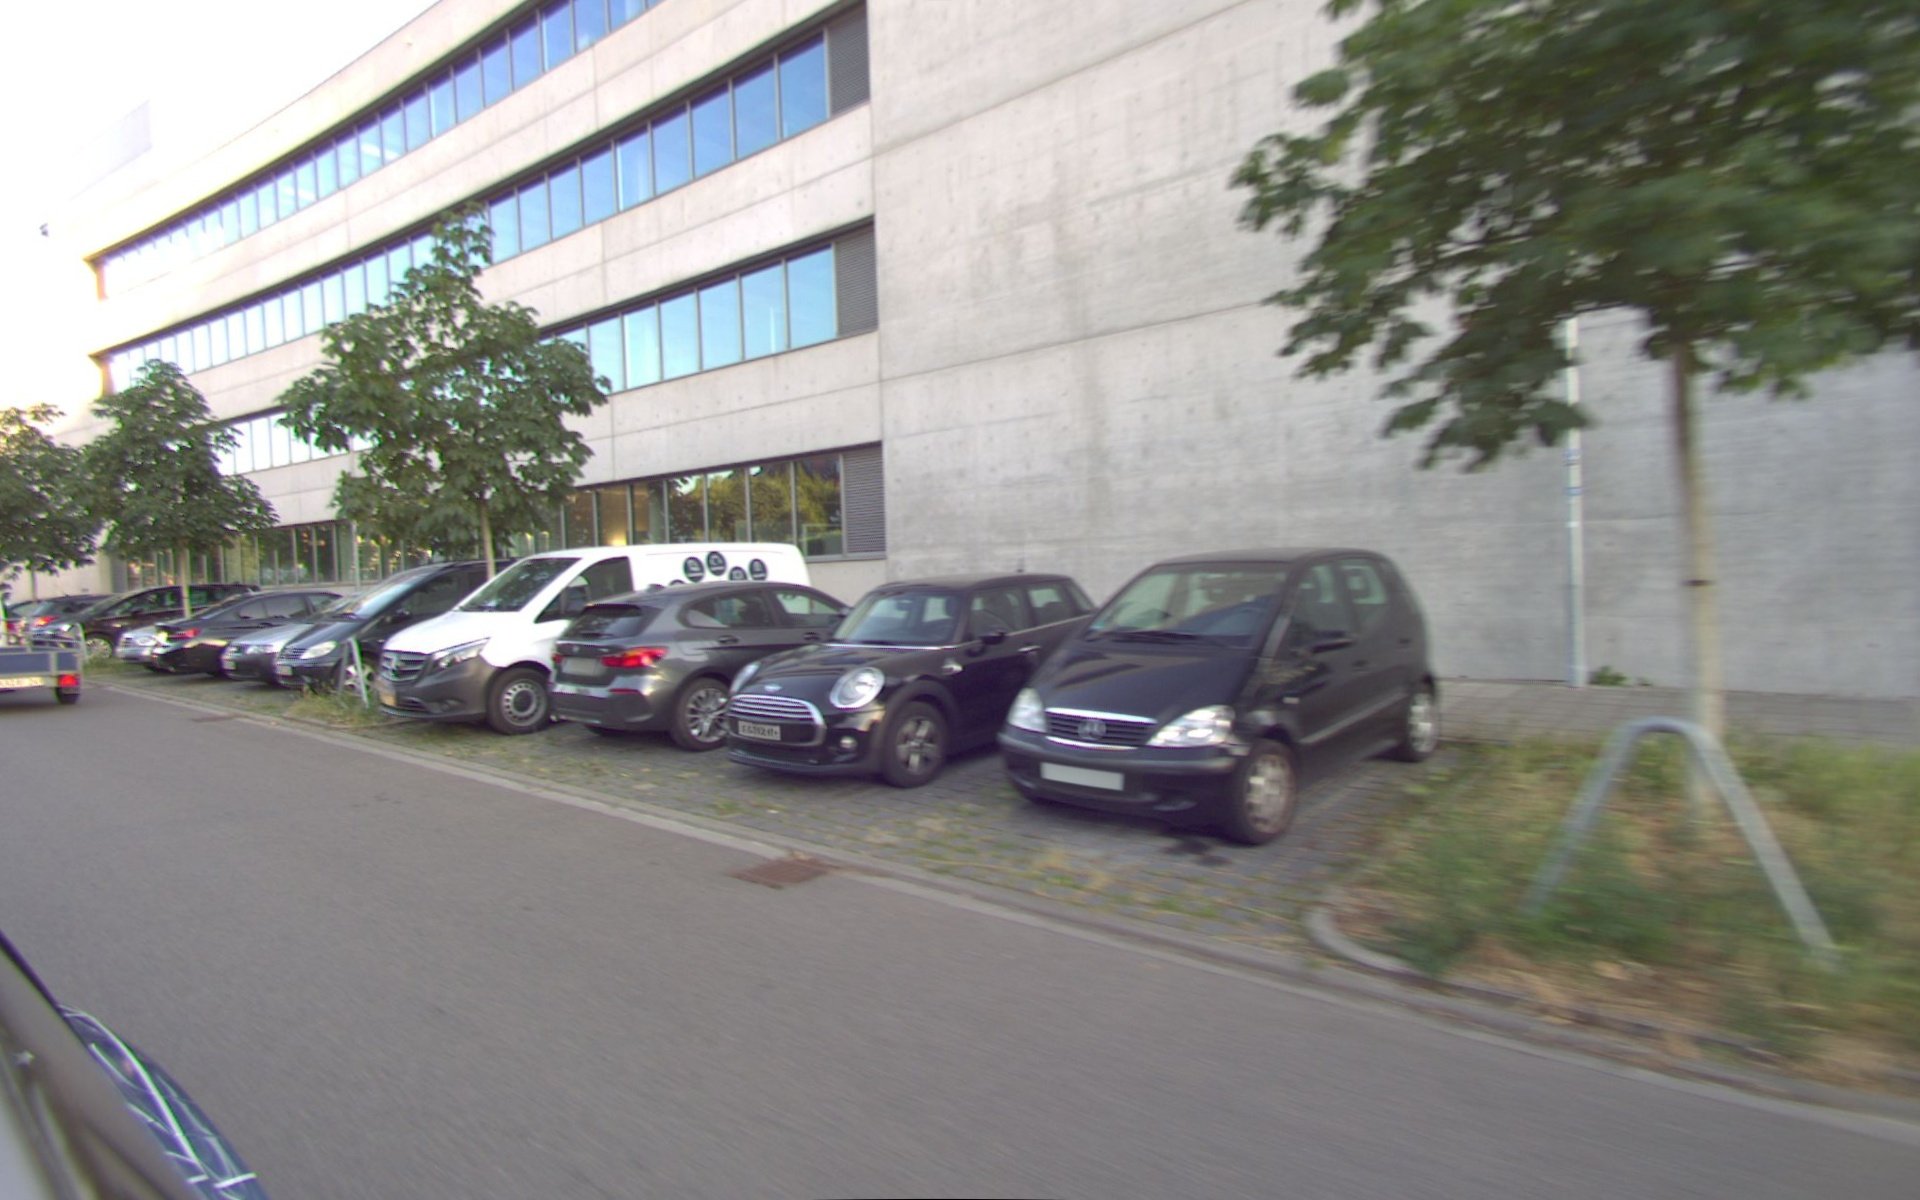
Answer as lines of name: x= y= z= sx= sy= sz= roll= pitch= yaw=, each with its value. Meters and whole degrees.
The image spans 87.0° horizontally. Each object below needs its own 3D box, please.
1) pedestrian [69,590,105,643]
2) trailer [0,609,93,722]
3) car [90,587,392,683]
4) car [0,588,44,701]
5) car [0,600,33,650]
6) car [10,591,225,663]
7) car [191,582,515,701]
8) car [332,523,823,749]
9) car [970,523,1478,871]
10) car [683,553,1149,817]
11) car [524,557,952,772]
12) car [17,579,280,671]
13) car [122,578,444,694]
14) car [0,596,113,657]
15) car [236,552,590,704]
pedestrian: x=-30.218 y=0.571 z=35.038 sx=0.722 sy=1.797 sz=0.641 roll=-2 pitch=2 yaw=31
trailer: x=-13.200 y=0.830 z=13.729 sx=3.485 sy=1.359 sz=1.688 roll=0 pitch=0 yaw=41
car: x=-13.719 y=0.610 z=19.571 sx=1.760 sy=1.475 sz=4.393 roll=-2 pitch=1 yaw=37
car: x=-16.640 y=0.672 z=16.143 sx=4.709 sy=1.698 sz=1.936 roll=0 pitch=1 yaw=34
car: x=-31.690 y=0.917 z=31.397 sx=1.754 sy=1.522 sz=3.958 roll=-2 pitch=2 yaw=31
car: x=-20.498 y=0.604 z=24.752 sx=1.674 sy=1.468 sz=3.673 roll=-1 pitch=2 yaw=34
car: x=-9.679 y=0.560 z=16.444 sx=1.722 sy=1.414 sz=4.107 roll=-1 pitch=4 yaw=37
car: x=-4.126 y=0.191 z=11.831 sx=1.886 sy=1.960 sz=5.029 roll=0 pitch=4 yaw=38
car: x=1.938 y=0.379 z=6.702 sx=1.661 sy=1.588 sz=3.595 roll=-1 pitch=4 yaw=44
car: x=-0.134 y=0.481 z=8.356 sx=1.650 sy=1.499 sz=3.849 roll=-1 pitch=4 yaw=39
car: x=-2.012 y=0.455 z=10.121 sx=1.605 sy=1.533 sz=3.947 roll=0 pitch=4 yaw=41
car: x=-18.263 y=0.489 z=22.970 sx=1.893 sy=1.709 sz=4.270 roll=-1 pitch=2 yaw=37
car: x=-11.791 y=0.523 z=17.880 sx=1.762 sy=1.510 sz=4.353 roll=0 pitch=4 yaw=41
car: x=-26.709 y=0.803 z=28.611 sx=1.754 sy=1.522 sz=3.842 roll=-2 pitch=2 yaw=31
car: x=-7.914 y=0.280 z=15.023 sx=1.722 sy=1.755 sz=4.209 roll=-1 pitch=4 yaw=37
